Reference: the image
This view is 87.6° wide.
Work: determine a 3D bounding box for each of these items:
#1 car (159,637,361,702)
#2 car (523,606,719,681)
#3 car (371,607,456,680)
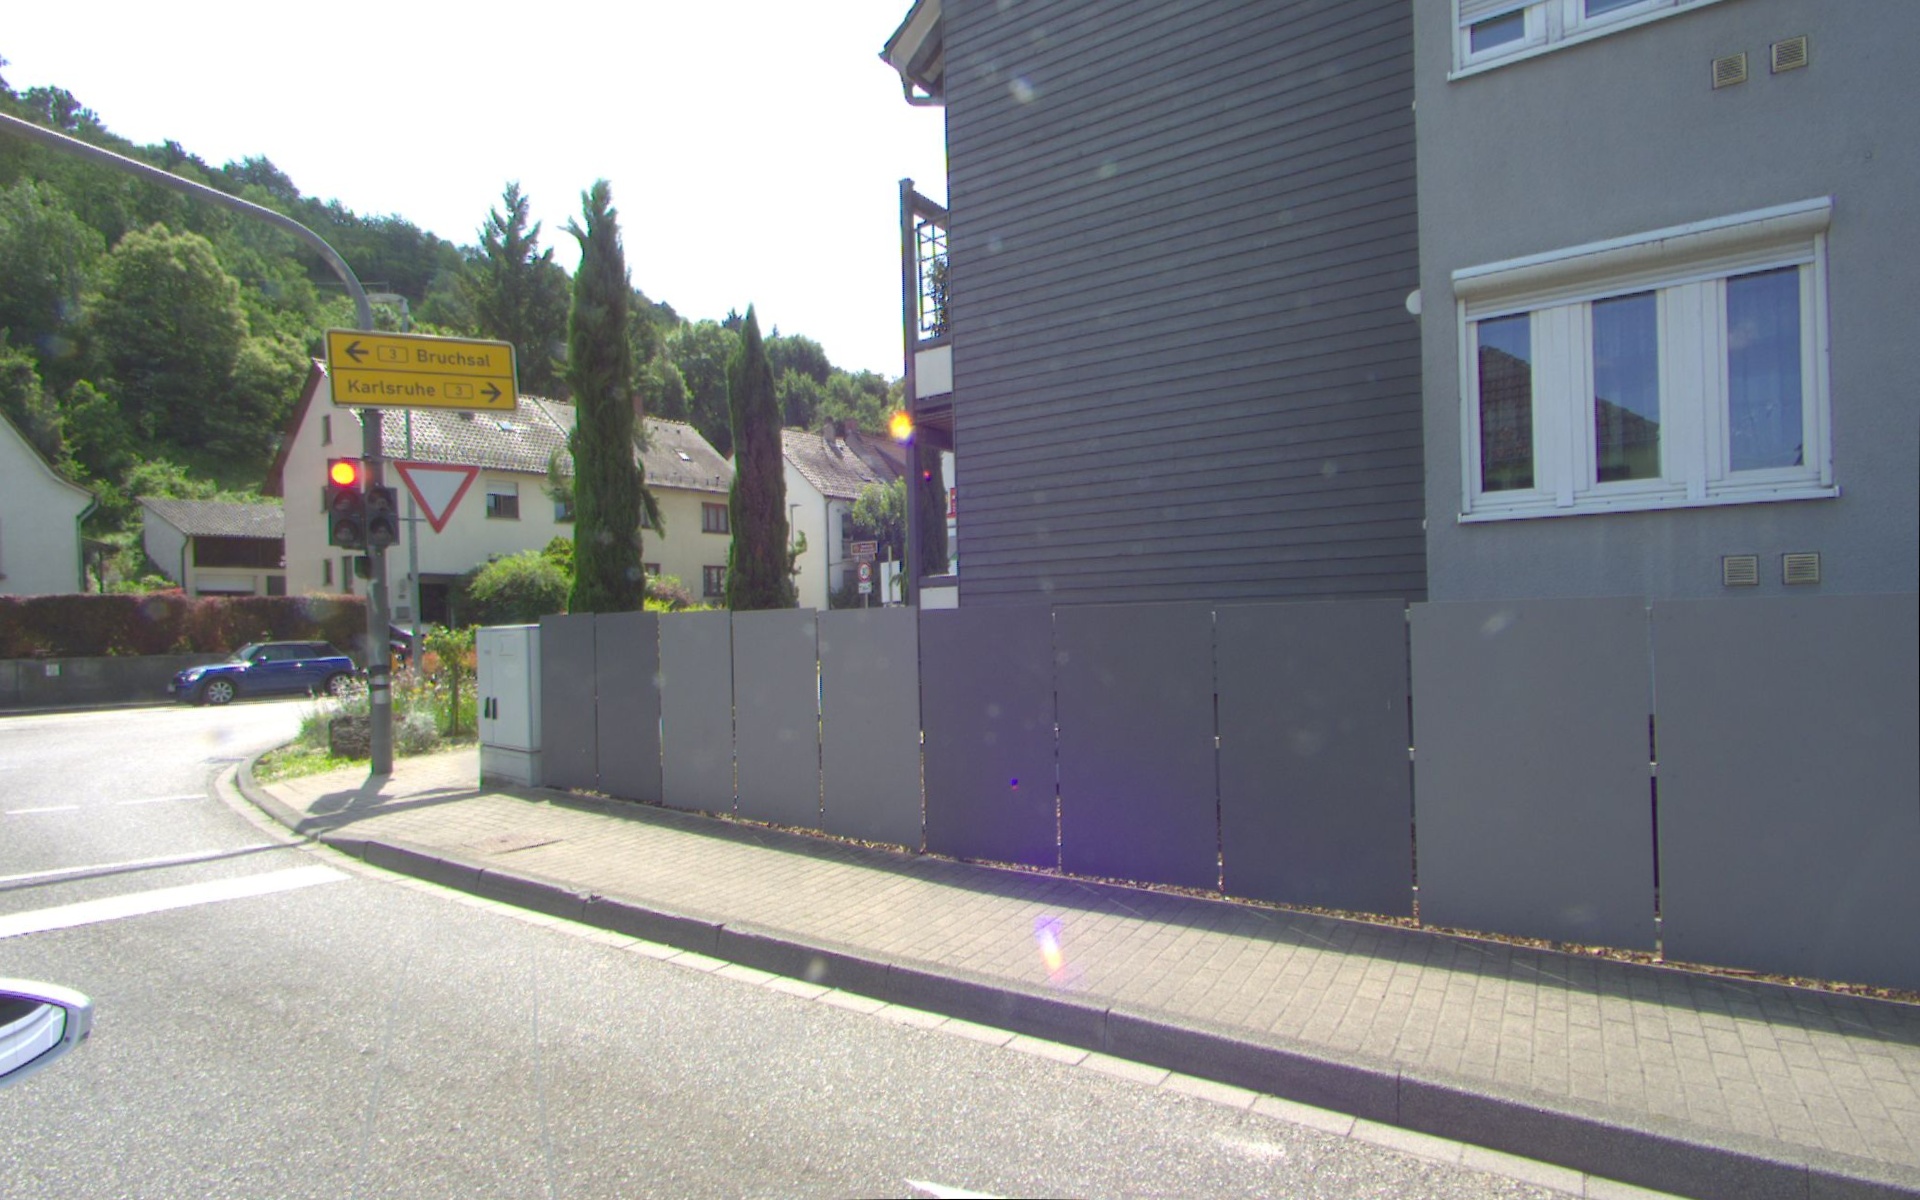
[{"bbox_3d":[-16.461,1.616,23.689,1.624,1.379,3.597,-5,-4,36],"label":"car"},{"bbox_3d":[-9.193,1.168,27.574,1.975,1.844,4.858,-4,-3,36],"label":"car"},{"bbox_3d":[-17.276,1.305,31.554,1.780,1.410,3.650,0,12,-38],"label":"car"}]
